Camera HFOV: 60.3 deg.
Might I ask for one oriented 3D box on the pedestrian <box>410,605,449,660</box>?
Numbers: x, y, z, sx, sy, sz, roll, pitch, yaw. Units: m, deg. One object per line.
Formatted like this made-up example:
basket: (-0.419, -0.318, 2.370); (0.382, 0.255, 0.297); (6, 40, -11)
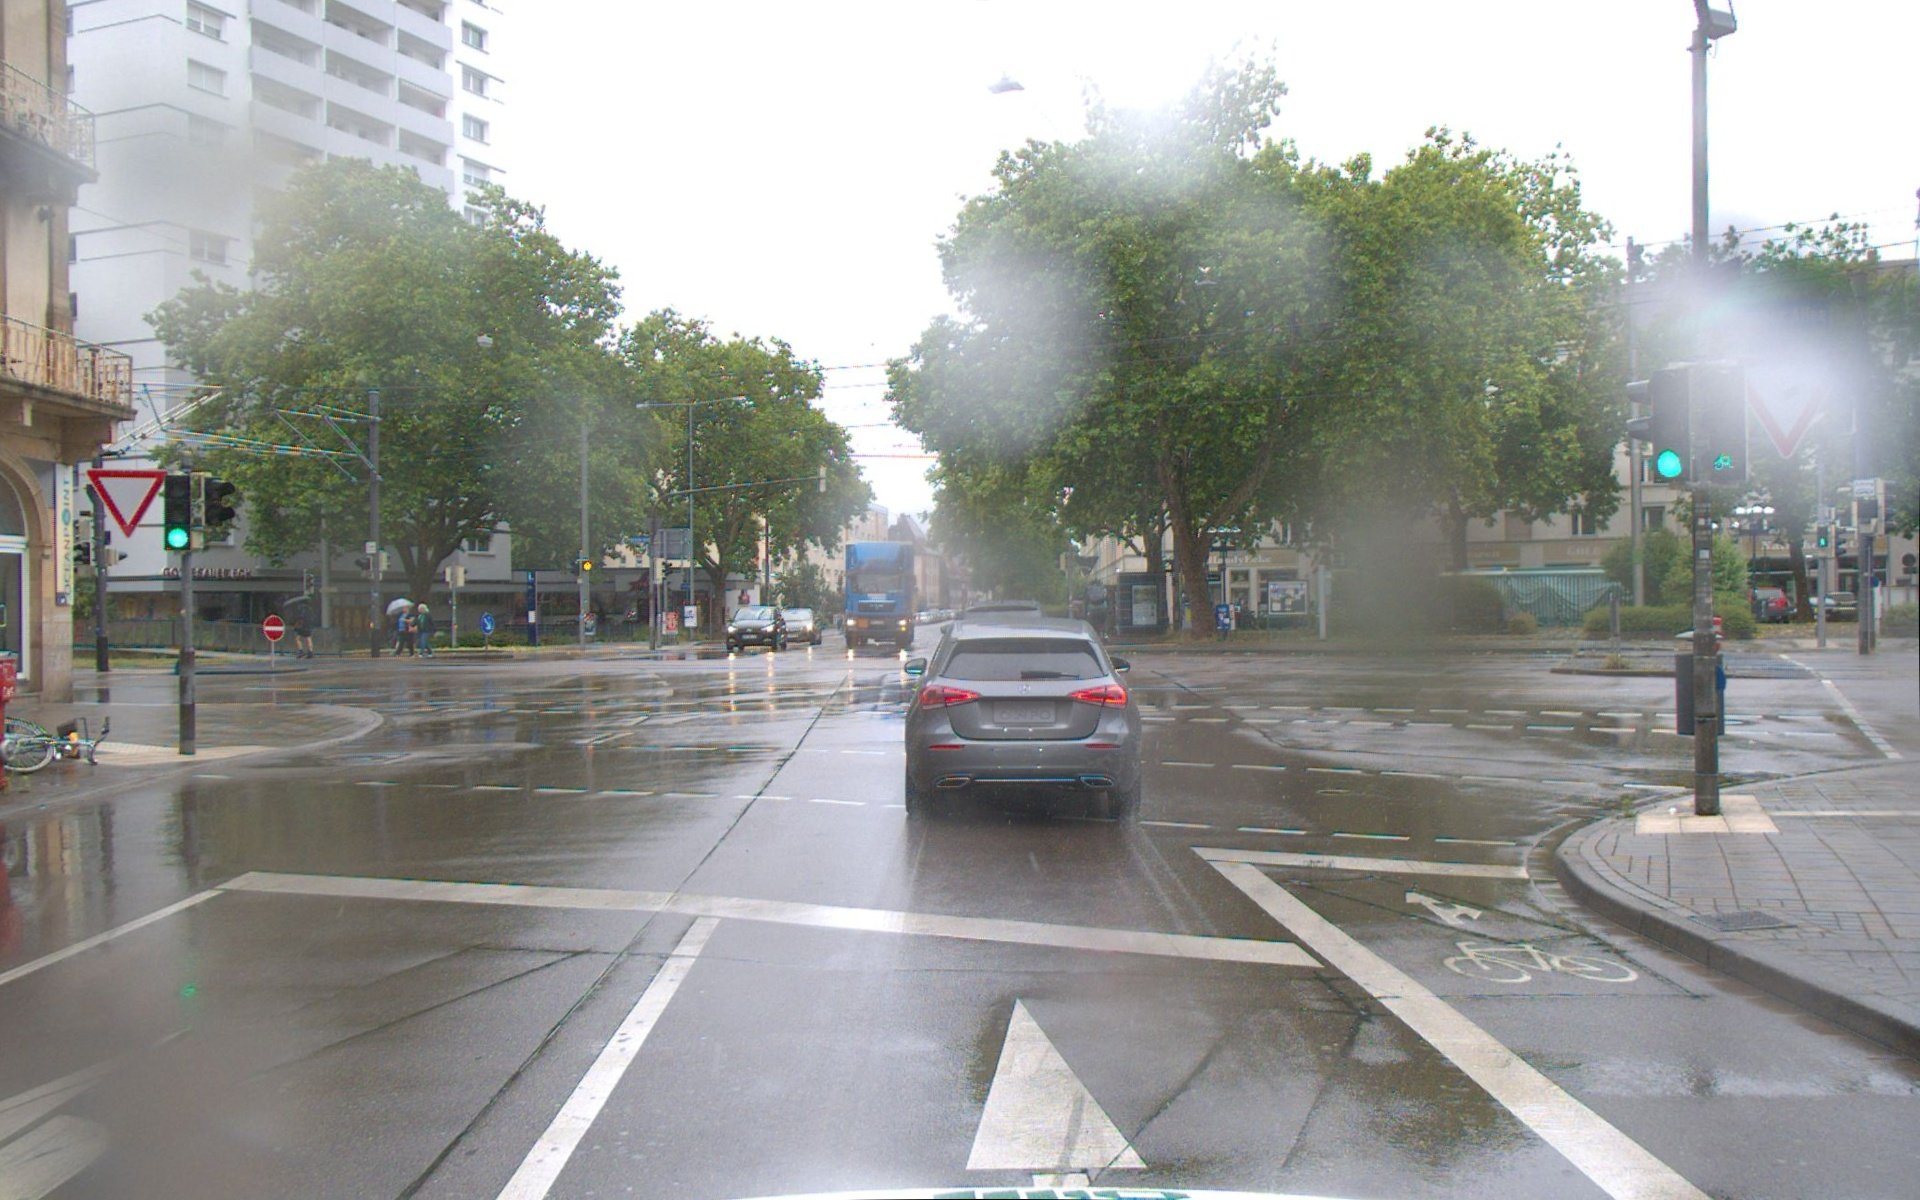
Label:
pedestrian: (-16.638, 1.021, 51.876); (0.817, 1.677, 0.756); (-2, 0, 14)

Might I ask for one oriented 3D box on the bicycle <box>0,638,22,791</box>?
bicycle: (-9.539, 1.046, 14.878); (1.935, 1.353, 0.438); (-1, 0, 1)

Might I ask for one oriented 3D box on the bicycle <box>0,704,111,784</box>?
bicycle: (-9.080, 1.412, 16.447); (1.029, 0.675, 1.462); (2, -2, -32)

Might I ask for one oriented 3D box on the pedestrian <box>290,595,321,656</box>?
pedestrian: (-20.419, 0.794, 51.585); (0.664, 1.870, 0.639); (-2, 0, -3)

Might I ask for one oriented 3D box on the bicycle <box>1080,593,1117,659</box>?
bicycle: (3.132, 0.565, 37.176); (0.733, 1.401, 2.709); (-2, 0, 6)

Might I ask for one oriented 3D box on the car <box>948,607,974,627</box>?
car: (0.093, 1.372, 134.501); (1.953, 1.601, 3.998); (-1, -1, -2)

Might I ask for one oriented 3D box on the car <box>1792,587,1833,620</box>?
car: (42.146, 0.196, 81.828); (1.518, 1.492, 3.365); (-2, -3, 23)

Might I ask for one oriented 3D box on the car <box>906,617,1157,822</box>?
car: (0.471, 0.849, 13.269); (1.755, 1.396, 3.506); (0, 0, -1)

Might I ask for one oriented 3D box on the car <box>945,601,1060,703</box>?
car: (0.594, 0.749, 25.626); (1.574, 1.396, 3.999); (-2, 0, -1)

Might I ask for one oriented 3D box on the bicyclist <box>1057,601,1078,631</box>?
bicyclist: (7.009, 1.049, 108.126); (0.924, 1.901, 1.136); (-1, -5, -19)

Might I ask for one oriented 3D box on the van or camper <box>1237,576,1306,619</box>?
van or camper: (17.379, -0.134, 92.054); (2.349, 2.270, 5.424); (-2, -1, 26)

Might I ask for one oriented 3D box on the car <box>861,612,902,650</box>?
car: (-3.575, 1.396, 75.863); (1.707, 1.632, 3.999); (-1, 0, -1)

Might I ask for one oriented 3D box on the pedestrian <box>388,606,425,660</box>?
pedestrian: (-17.781, 1.061, 53.152); (0.774, 1.677, 0.817); (-2, 0, 14)

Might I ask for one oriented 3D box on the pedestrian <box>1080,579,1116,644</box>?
pedestrian: (3.099, 0.255, 37.004); (0.728, 1.422, 1.048); (-2, 0, 6)

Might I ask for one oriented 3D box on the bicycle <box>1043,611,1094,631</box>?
bicycle: (7.115, 1.369, 108.188); (3.158, 1.131, 1.048); (-1, -5, -20)

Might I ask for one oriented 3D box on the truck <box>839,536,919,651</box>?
truck: (-3.064, -0.211, 65.188); (2.788, 4.096, 10.313); (-2, 0, -1)

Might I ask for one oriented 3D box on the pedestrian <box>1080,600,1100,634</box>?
pedestrian: (6.611, 0.863, 84.140); (0.659, 1.698, 0.708); (0, -1, -40)

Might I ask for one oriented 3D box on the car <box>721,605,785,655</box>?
car: (-6.927, 0.985, 55.674); (1.708, 1.573, 3.777); (-2, 0, -2)

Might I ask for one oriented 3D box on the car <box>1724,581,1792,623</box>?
car: (31.353, 0.079, 65.058); (1.627, 1.548, 3.682); (-2, -1, 14)

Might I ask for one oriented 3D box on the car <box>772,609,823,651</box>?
car: (-6.538, 1.187, 66.724); (1.691, 1.573, 4.339); (-2, 0, -1)
